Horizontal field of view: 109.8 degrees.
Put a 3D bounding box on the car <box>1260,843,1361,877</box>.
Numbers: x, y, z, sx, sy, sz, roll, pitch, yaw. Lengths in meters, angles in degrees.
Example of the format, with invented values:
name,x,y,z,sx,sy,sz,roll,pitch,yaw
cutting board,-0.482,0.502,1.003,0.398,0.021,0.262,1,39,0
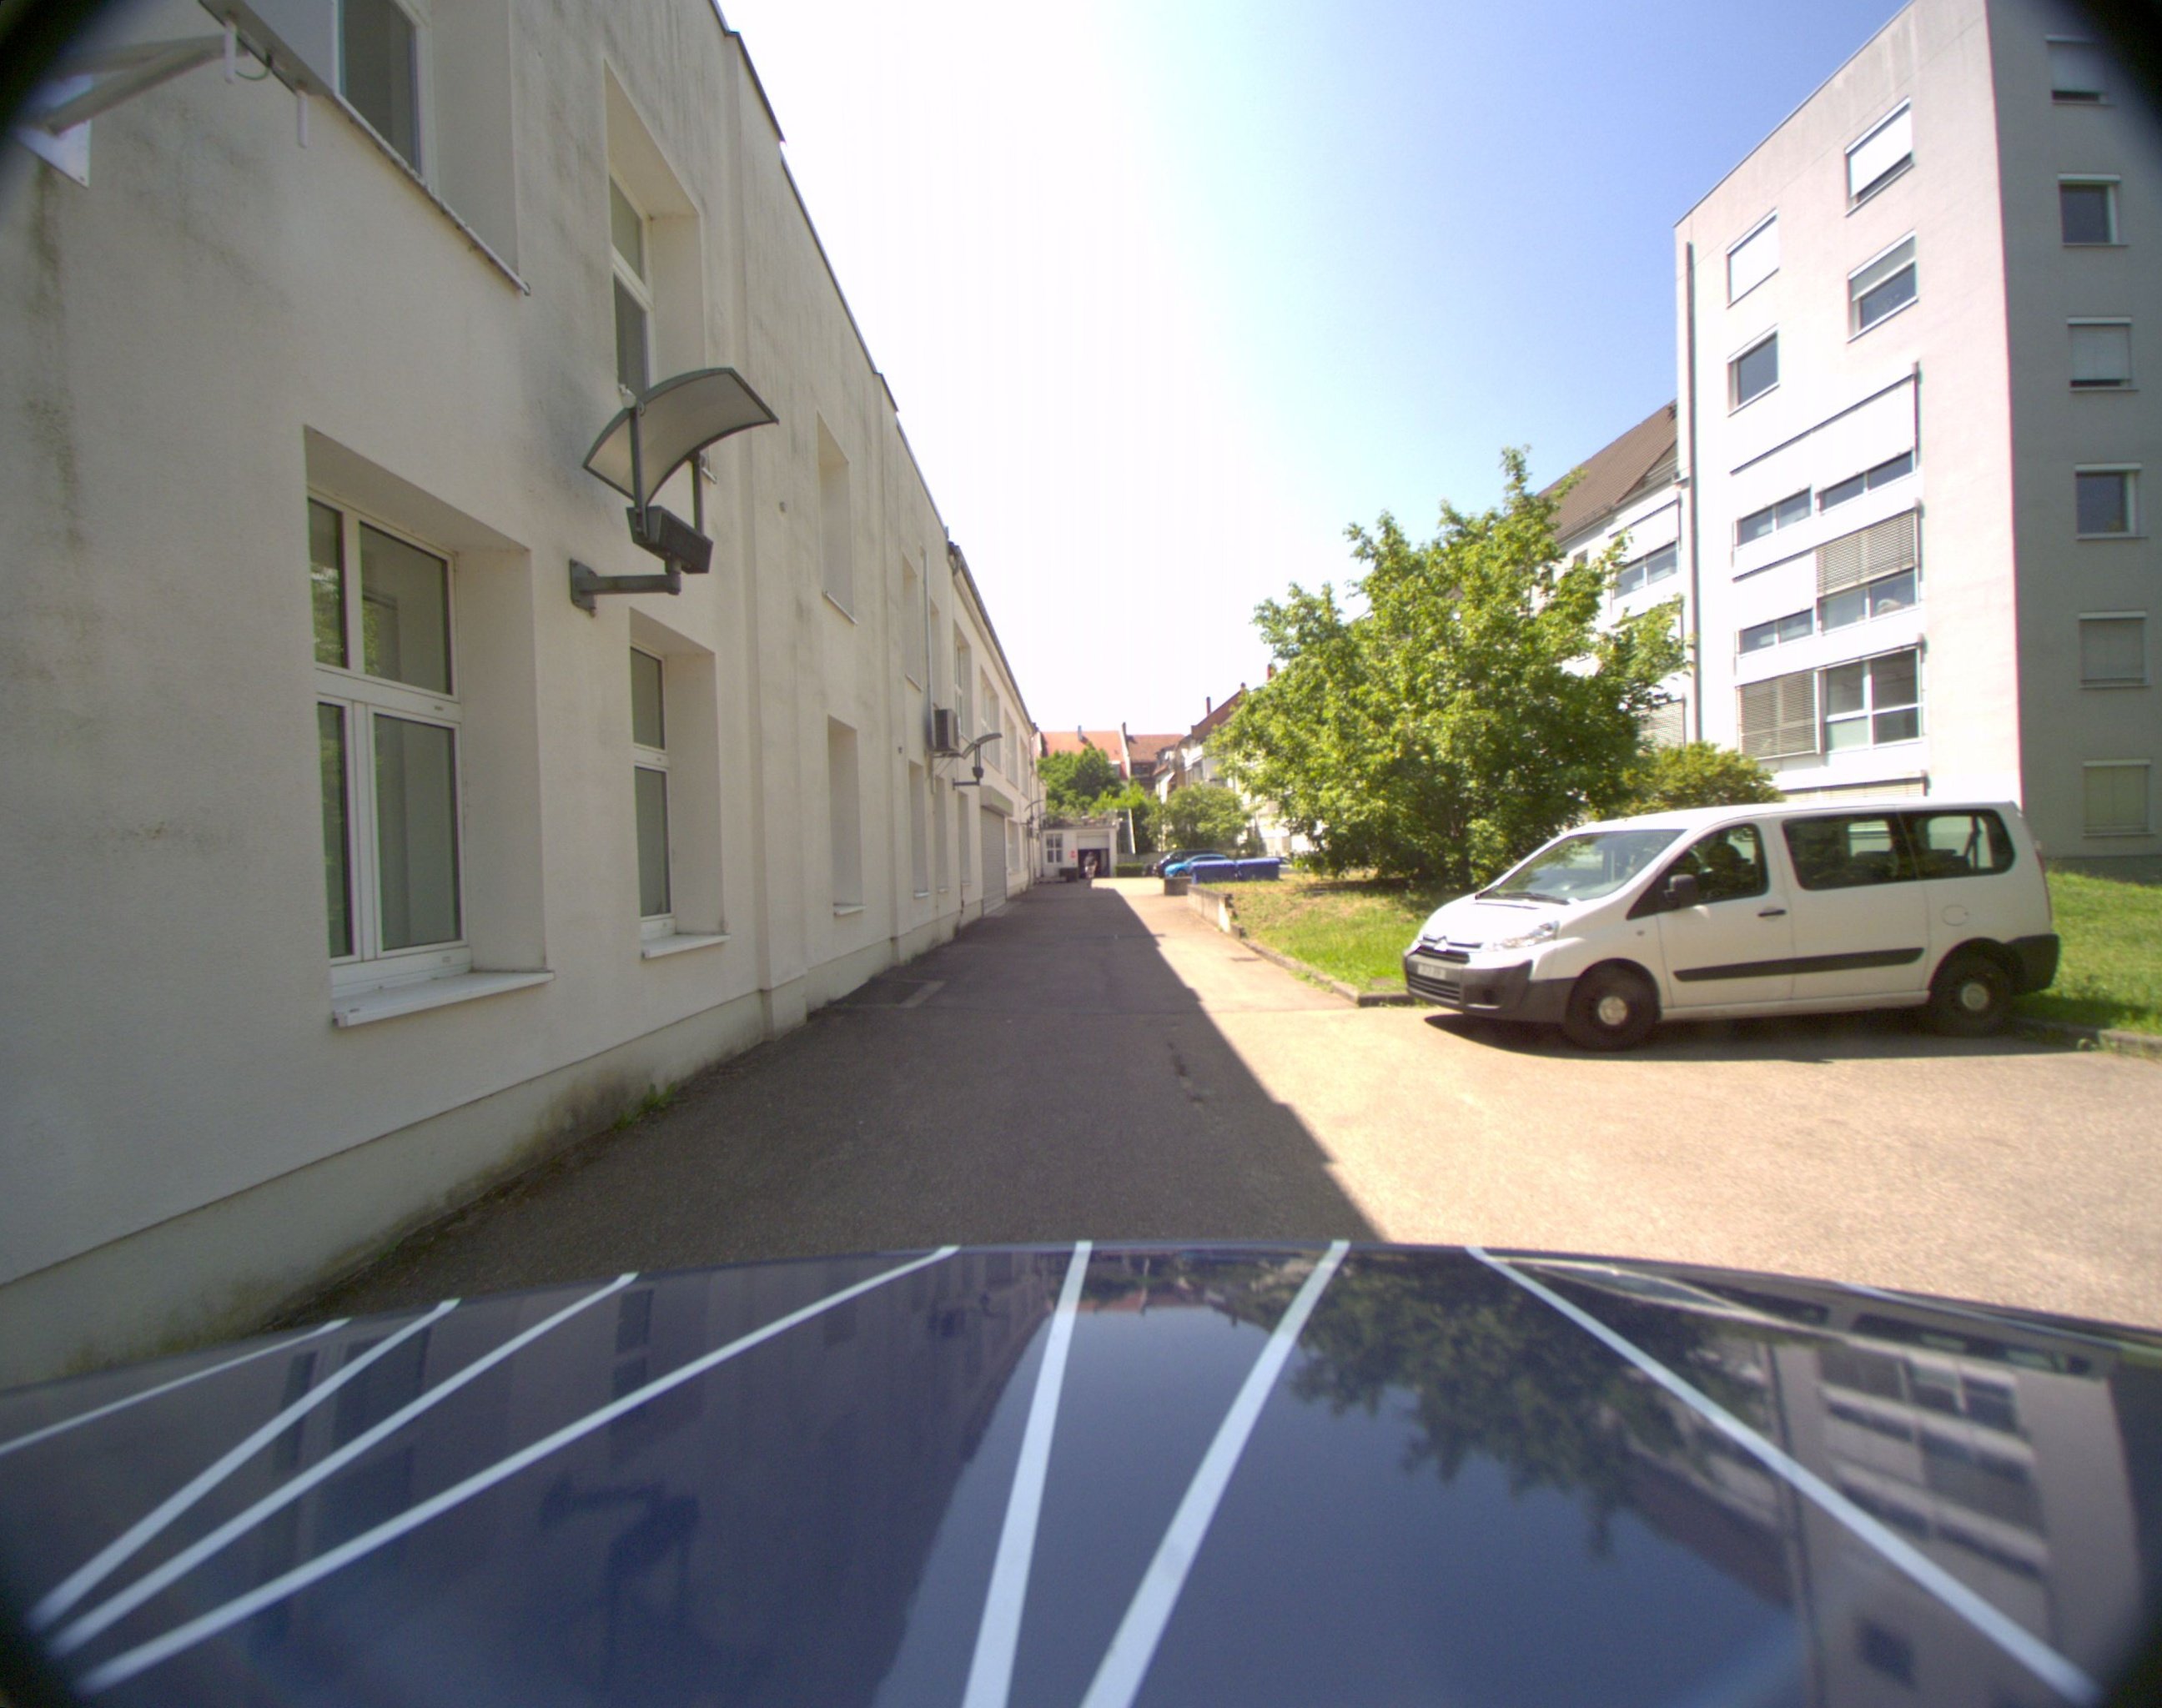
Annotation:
name,x,y,z,sx,sy,sz,roll,pitch,yaw
car,10.354,0.280,34.426,3.998,1.428,1.711,-1,0,-3

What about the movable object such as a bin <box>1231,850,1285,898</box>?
name,x,y,z,sx,sy,sz,roll,pitch,yaw
movable object such as a bin,5.093,0.563,21.960,1.257,1.320,1.104,-2,0,1

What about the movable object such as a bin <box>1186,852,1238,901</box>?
name,x,y,z,sx,sy,sz,roll,pitch,yaw
movable object such as a bin,3.772,0.627,21.955,1.257,1.320,1.104,-2,0,1

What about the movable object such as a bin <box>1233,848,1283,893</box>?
name,x,y,z,sx,sy,sz,roll,pitch,yaw
movable object such as a bin,5.528,0.506,23.768,1.257,1.320,1.104,-2,0,1

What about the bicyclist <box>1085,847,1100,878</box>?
name,x,y,z,sx,sy,sz,roll,pitch,yaw
bicyclist,0.590,0.458,40.638,0.724,1.600,0.978,-2,0,0

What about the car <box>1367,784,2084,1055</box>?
name,x,y,z,sx,sy,sz,roll,pitch,yaw
car,5.324,0.478,6.729,4.802,1.900,1.999,-1,-1,-4

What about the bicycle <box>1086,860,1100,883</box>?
name,x,y,z,sx,sy,sz,roll,pitch,yaw
bicycle,0.614,0.896,40.587,0.645,1.167,1.904,-2,0,-1

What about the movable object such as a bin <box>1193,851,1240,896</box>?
name,x,y,z,sx,sy,sz,roll,pitch,yaw
movable object such as a bin,4.217,0.592,23.733,1.257,1.320,1.104,-2,0,1

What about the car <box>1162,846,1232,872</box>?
name,x,y,z,sx,sy,sz,roll,pitch,yaw
car,7.515,0.312,49.507,4.168,1.544,1.859,-2,0,-4

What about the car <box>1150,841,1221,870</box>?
name,x,y,z,sx,sy,sz,roll,pitch,yaw
car,7.121,0.097,52.151,4.449,1.821,1.999,-2,1,-3
